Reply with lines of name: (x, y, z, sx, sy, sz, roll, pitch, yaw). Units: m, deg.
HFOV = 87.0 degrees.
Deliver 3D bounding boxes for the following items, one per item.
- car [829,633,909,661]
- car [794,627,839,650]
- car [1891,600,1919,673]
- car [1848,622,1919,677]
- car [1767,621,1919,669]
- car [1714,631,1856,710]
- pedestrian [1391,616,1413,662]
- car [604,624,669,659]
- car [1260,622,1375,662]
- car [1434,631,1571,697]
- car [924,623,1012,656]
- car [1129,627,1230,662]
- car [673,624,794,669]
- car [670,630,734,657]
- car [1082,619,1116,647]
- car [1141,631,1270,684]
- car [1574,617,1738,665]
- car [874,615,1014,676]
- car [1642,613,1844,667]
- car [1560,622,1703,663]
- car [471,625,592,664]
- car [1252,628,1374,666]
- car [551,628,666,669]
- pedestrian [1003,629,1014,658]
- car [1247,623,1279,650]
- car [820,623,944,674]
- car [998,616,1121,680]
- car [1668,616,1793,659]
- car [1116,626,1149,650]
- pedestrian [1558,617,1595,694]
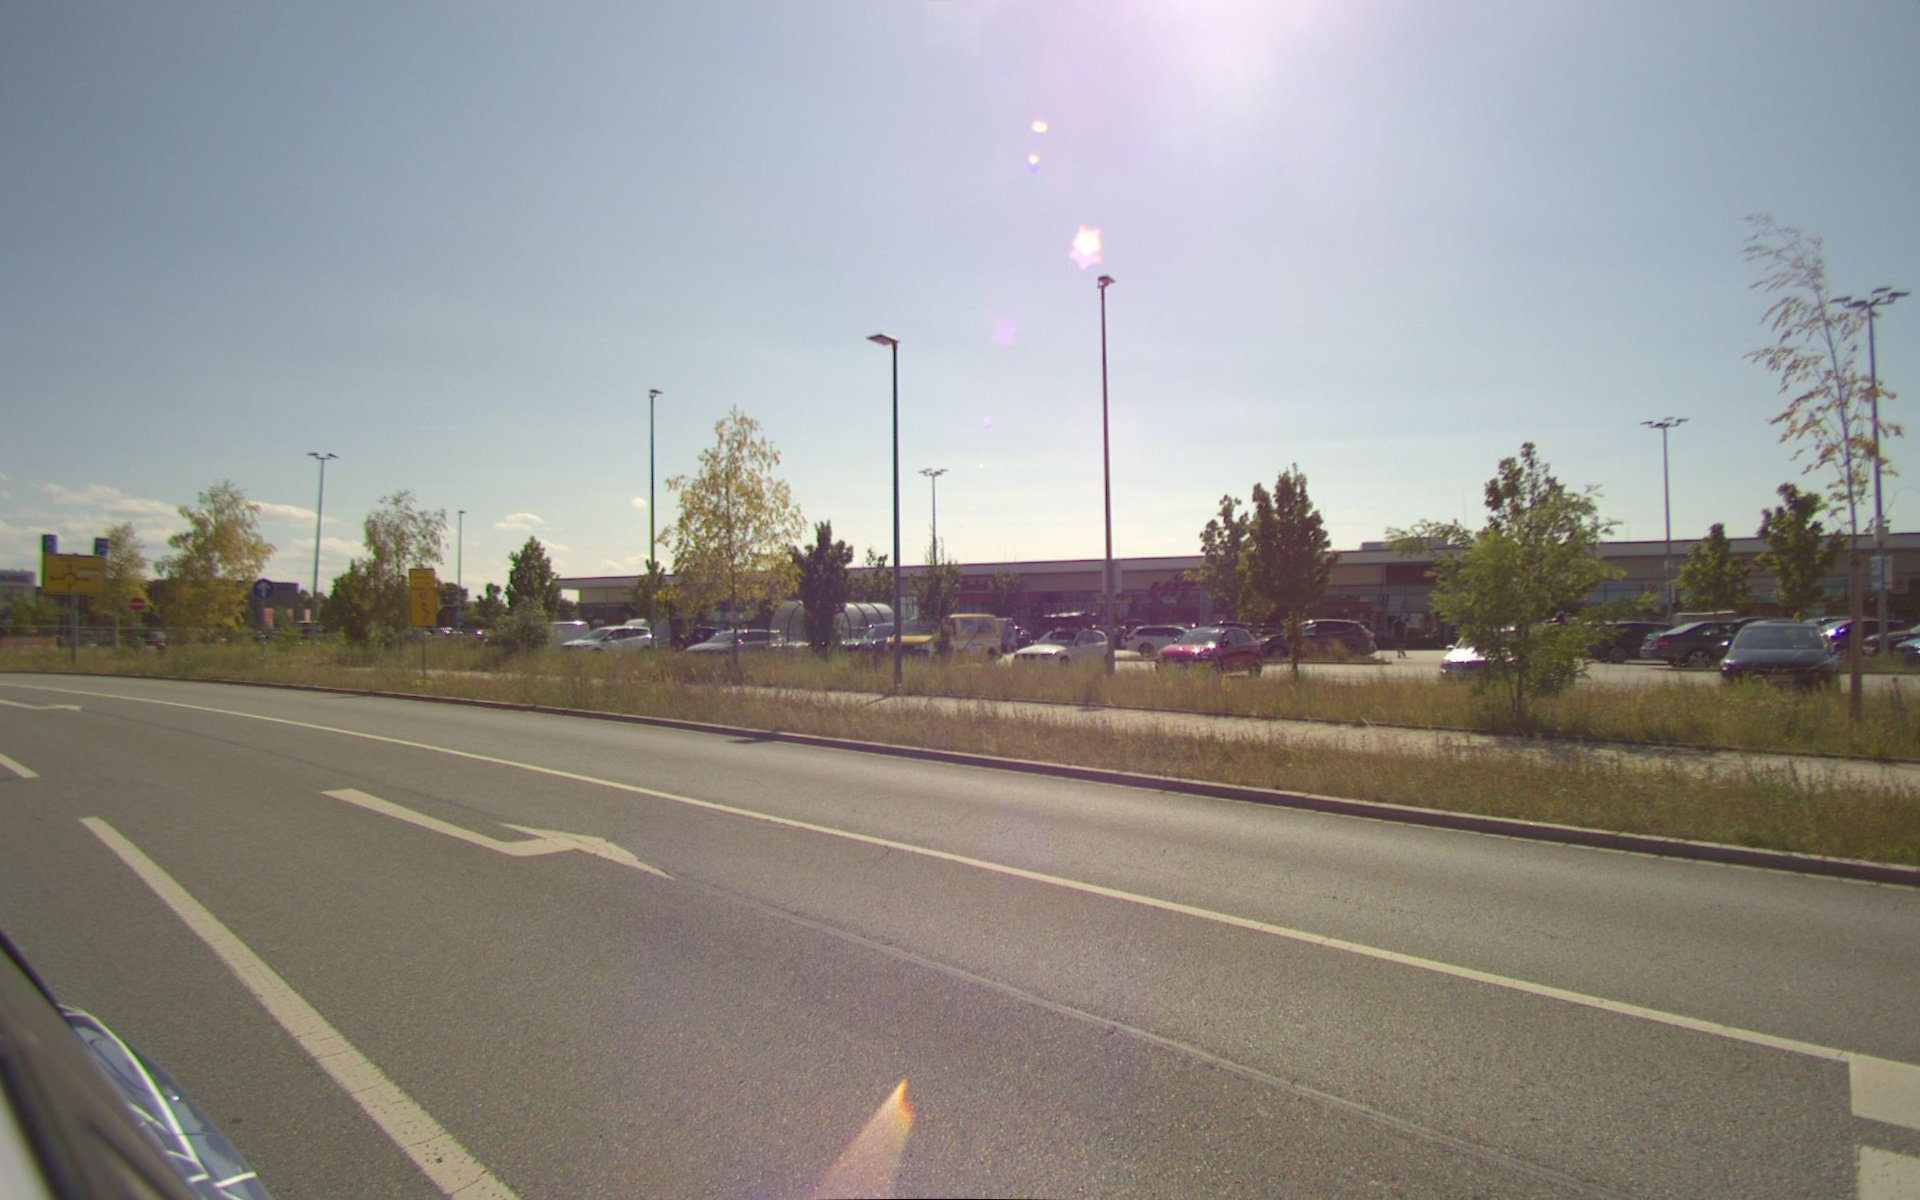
car: (-5.120, 2.643, 57.075, 4.209, 1.528, 1.705, -1, -2, 21)
car: (-10.421, 2.785, 73.690, 1.701, 1.576, 4.333, -1, -2, 15)
car: (28.770, 0.969, 27.444, 4.798, 2.001, 1.706, -1, -2, 20)
car: (29.423, 1.442, 29.946, 4.321, 1.593, 1.706, -1, -2, 20)
car: (31.013, 1.555, 35.093, 4.321, 1.588, 1.706, -1, -2, 20)
car: (16.060, 1.296, 19.714, 1.935, 1.358, 4.101, -2, -3, 40)
pedestrian: (18.149, 1.601, 41.571, 0.776, 1.838, 0.566, -1, -2, 22)
car: (-25.399, 3.257, 79.610, 1.924, 2.607, 5.684, -1, -2, 18)
car: (14.568, 1.724, 41.366, 4.321, 1.561, 1.706, -1, -2, 20)
car: (12.427, 1.402, 23.062, 1.935, 1.358, 4.101, -2, -3, 40)
car: (0.442, 2.182, 55.321, 4.554, 1.754, 1.704, -1, -2, 23)
car: (10.057, 2.042, 46.415, 4.325, 1.538, 1.704, -1, -2, 23)
car: (-8.948, 1.817, 40.383, 1.995, 1.685, 4.662, -2, -3, 34)
car: (-15.703, 2.653, 61.700, 1.831, 1.564, 3.971, -1, -2, 21)
car: (9.369, 2.225, 67.940, 1.701, 1.821, 4.333, -1, -2, 15)
car: (6.995, 1.573, 28.593, 1.935, 1.358, 4.101, -2, -3, 40)
car: (24.038, 1.431, 35.119, 4.321, 1.573, 1.706, -1, -2, 20)
car: (-0.445, 1.553, 35.261, 1.995, 1.980, 5.633, -2, -3, 34)
car: (22.914, 1.186, 29.814, 4.321, 1.528, 1.706, -1, -2, 20)
car: (26.319, 1.674, 39.819, 4.321, 1.556, 1.706, -1, -2, 20)
car: (-19.827, 2.057, 47.100, 1.990, 1.685, 5.149, -1, -2, 27)
car: (13.606, 1.820, 39.136, 4.321, 1.428, 1.706, -1, -2, 20)
car: (-15.423, 2.108, 44.622, 1.994, 1.685, 4.554, -2, -2, 32)
pedestrian: (2.493, 2.232, 51.612, 0.411, 1.475, 0.506, -1, -2, 22)
car: (18.949, 2.299, 63.386, 1.701, 1.602, 4.333, -1, -2, 15)
car: (-2.689, 1.689, 35.990, 1.877, 1.685, 4.727, -2, -3, 34)
car: (3.177, 1.468, 31.650, 1.930, 1.875, 4.103, -2, -3, 38)
car: (36.419, 1.787, 47.964, 4.321, 1.974, 1.706, -1, -2, 20)
car: (11.216, 2.450, 65.670, 1.701, 1.530, 4.333, -1, -2, 15)
pedestrian: (13.860, 1.232, 22.750, 0.578, 1.708, 0.756, -2, -2, 41)
